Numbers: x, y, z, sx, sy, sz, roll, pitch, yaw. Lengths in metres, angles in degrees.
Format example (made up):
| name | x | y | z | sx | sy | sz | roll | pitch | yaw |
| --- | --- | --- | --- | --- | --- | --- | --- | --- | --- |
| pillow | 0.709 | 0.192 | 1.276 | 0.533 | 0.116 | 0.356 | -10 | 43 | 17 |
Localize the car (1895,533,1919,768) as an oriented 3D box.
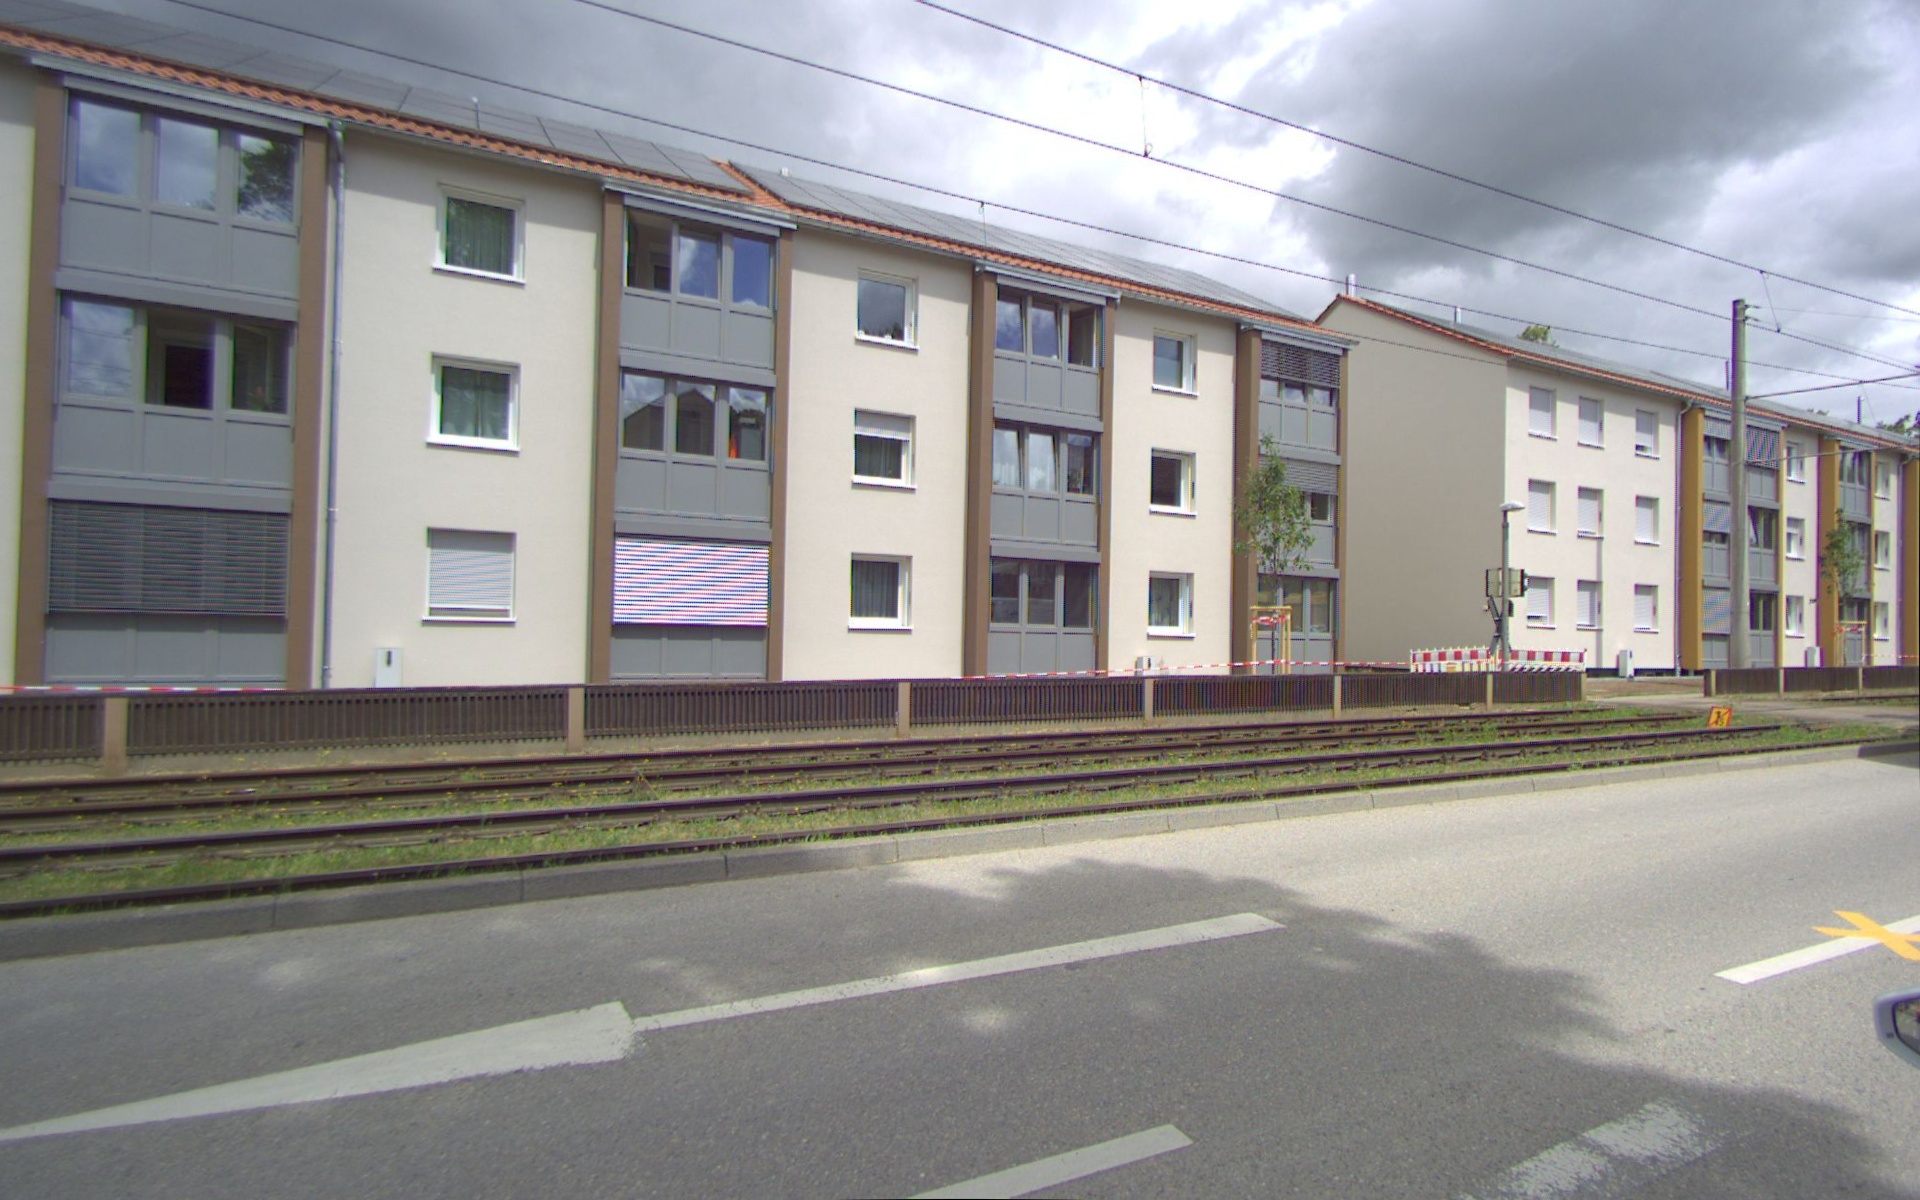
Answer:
| name | x | y | z | sx | sy | sz | roll | pitch | yaw |
| --- | --- | --- | --- | --- | --- | --- | --- | --- | --- |
| car | 13.165 | 0.605 | 11.359 | 6.245 | 2.463 | 1.985 | 1 | 0 | -29 |
